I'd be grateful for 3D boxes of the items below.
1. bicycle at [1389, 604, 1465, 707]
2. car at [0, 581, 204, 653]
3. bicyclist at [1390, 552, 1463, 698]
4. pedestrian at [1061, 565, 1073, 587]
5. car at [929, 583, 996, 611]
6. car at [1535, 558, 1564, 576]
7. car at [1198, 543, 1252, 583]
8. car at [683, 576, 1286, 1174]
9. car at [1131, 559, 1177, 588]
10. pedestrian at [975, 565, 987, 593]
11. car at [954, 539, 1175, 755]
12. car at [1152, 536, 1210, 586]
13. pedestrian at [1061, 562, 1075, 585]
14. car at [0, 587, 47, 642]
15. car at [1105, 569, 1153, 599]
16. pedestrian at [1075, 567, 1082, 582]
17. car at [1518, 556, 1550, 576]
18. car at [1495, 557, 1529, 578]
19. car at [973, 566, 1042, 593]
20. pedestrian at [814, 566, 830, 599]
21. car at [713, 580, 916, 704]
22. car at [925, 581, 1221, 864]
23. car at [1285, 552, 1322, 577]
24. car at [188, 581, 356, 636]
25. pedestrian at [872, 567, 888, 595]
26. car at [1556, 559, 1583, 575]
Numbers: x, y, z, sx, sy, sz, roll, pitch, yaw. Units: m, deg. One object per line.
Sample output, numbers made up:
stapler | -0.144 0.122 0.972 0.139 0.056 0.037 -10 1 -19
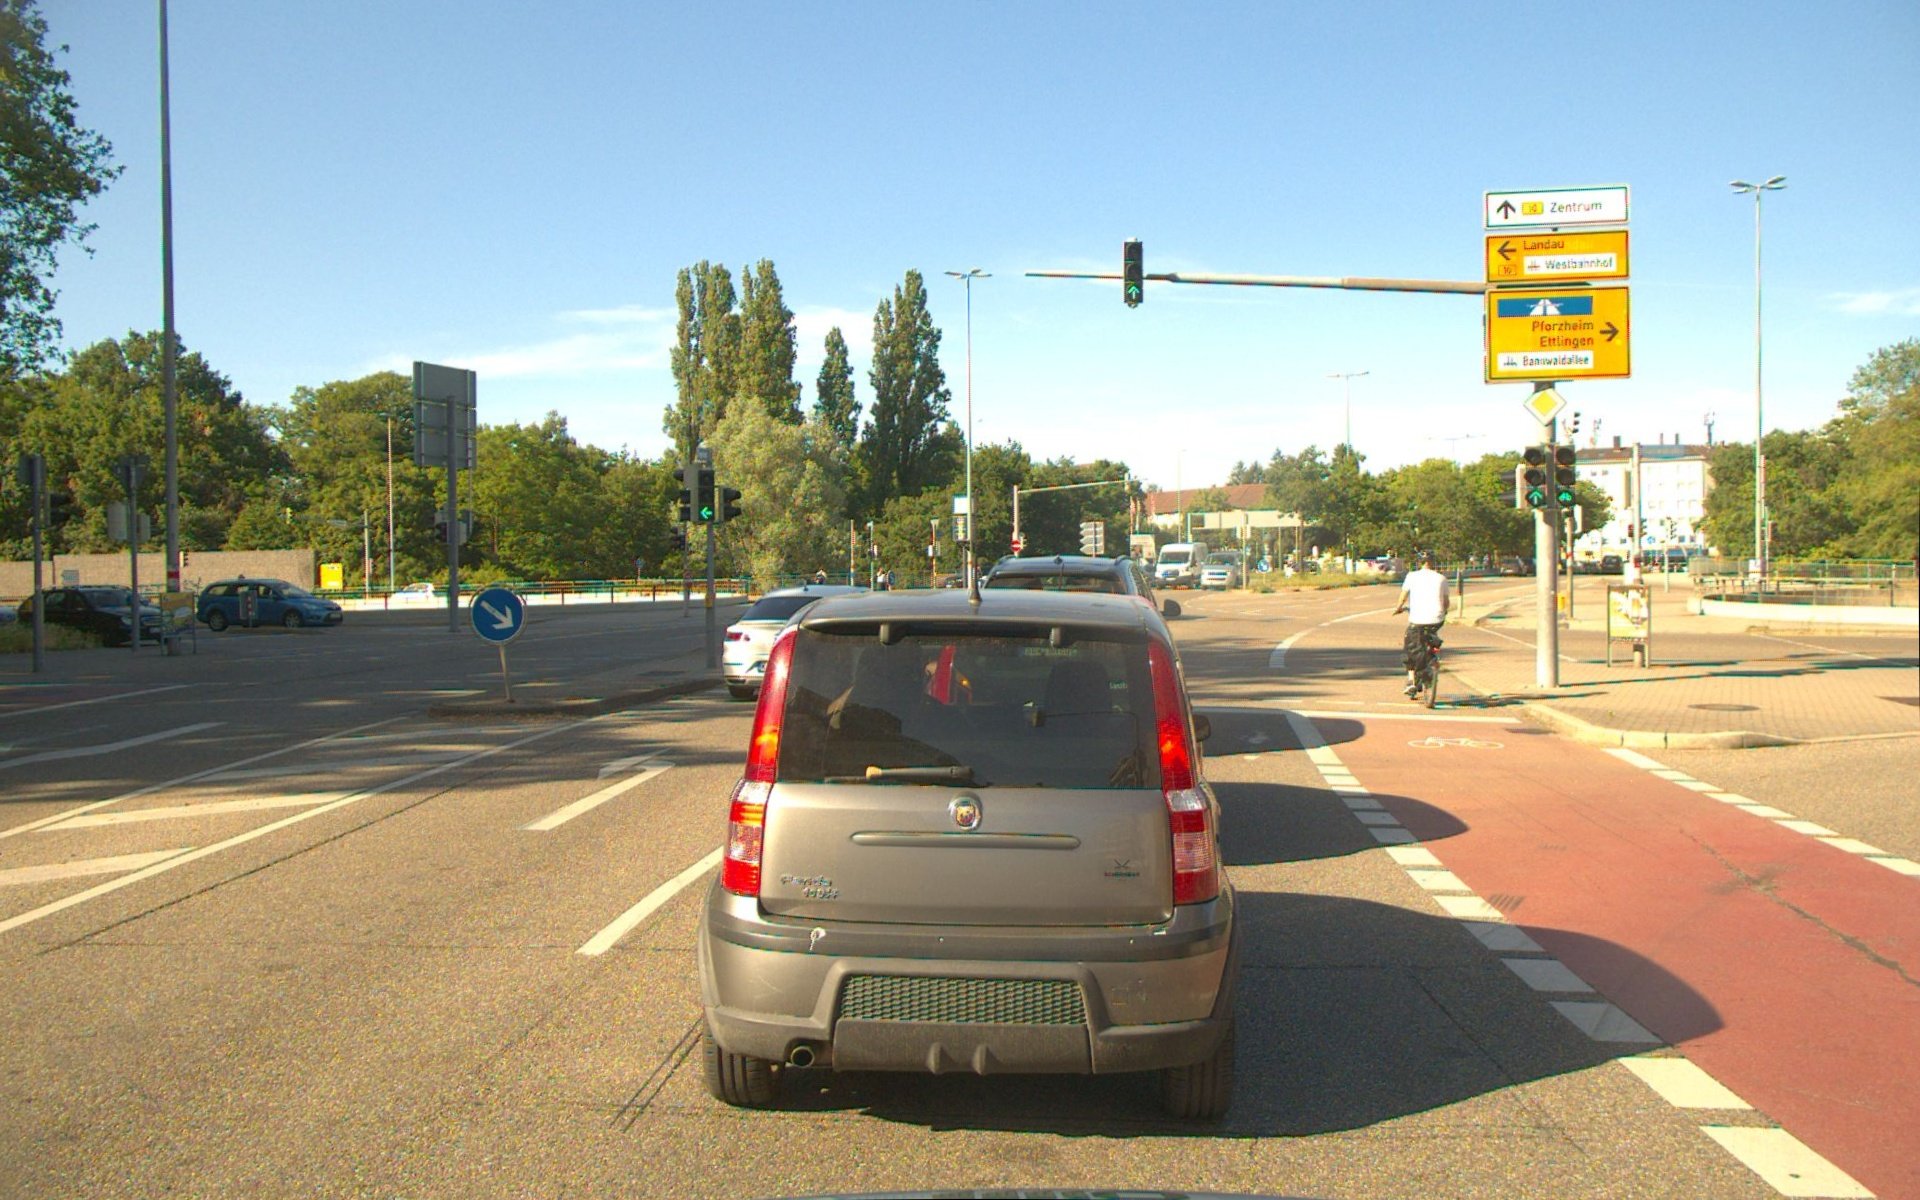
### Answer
bicycle | 5.565 0.632 19.801 0.676 1.121 1.828 0 1 10
car | -21.051 0.408 40.202 4.668 1.649 1.953 0 1 15
bicyclist | 5.555 0.276 19.743 0.708 1.688 1.114 0 1 10
pedestrian | 8.292 -1.868 128.085 0.706 1.670 0.672 1 -1 24
car | 0.182 -0.180 103.959 3.961 1.653 1.874 1 0 -39
car | 52.847 -2.942 148.324 1.908 1.555 4.092 0 1 28
car | 13.966 -1.955 86.970 1.896 2.043 4.933 0 1 19
car | 0.206 0.703 6.293 1.583 1.542 3.822 -1 1 4
car | 11.594 -1.581 98.512 1.773 1.568 4.619 -2 1 18
pedestrian | 1.186 -1.186 93.640 0.547 1.574 0.573 -2 0 -16
car | 1.163 0.369 16.497 1.904 1.872 4.156 -1 1 7
car | 12.193 -2.172 90.932 1.896 2.621 6.091 0 1 19
pedestrian | 8.074 -1.969 123.686 0.777 1.693 0.626 0 -1 40
car | -26.388 0.393 43.502 4.404 1.381 1.879 0 1 24
car | 9.425 -0.913 91.877 1.896 1.534 4.003 -2 1 17
pedestrian | 9.197 -1.982 127.959 0.415 1.156 0.397 1 -1 24
car | 46.762 -2.756 134.743 1.908 1.555 4.093 0 1 27
car | 42.431 -2.490 127.070 1.907 1.555 4.093 0 1 27
car | 2.949 -1.275 102.023 4.292 1.562 1.758 -2 3 -42
pedestrian | -6.234 -0.807 74.732 0.666 1.488 0.702 -1 1 -7
car | -1.822 0.480 22.104 1.742 1.439 4.323 0 1 8
car | 0.756 0.646 10.851 1.583 1.488 3.753 -1 1 4
car | 23.838 -2.461 114.596 1.896 1.650 4.508 0 1 19
car | -20.757 0.256 49.970 4.348 1.567 1.953 -1 1 13
pedestrian | -4.570 -1.098 94.558 0.698 1.574 0.725 -2 -1 -16
car | 59.811 -3.215 162.283 1.908 1.555 4.092 0 1 28
